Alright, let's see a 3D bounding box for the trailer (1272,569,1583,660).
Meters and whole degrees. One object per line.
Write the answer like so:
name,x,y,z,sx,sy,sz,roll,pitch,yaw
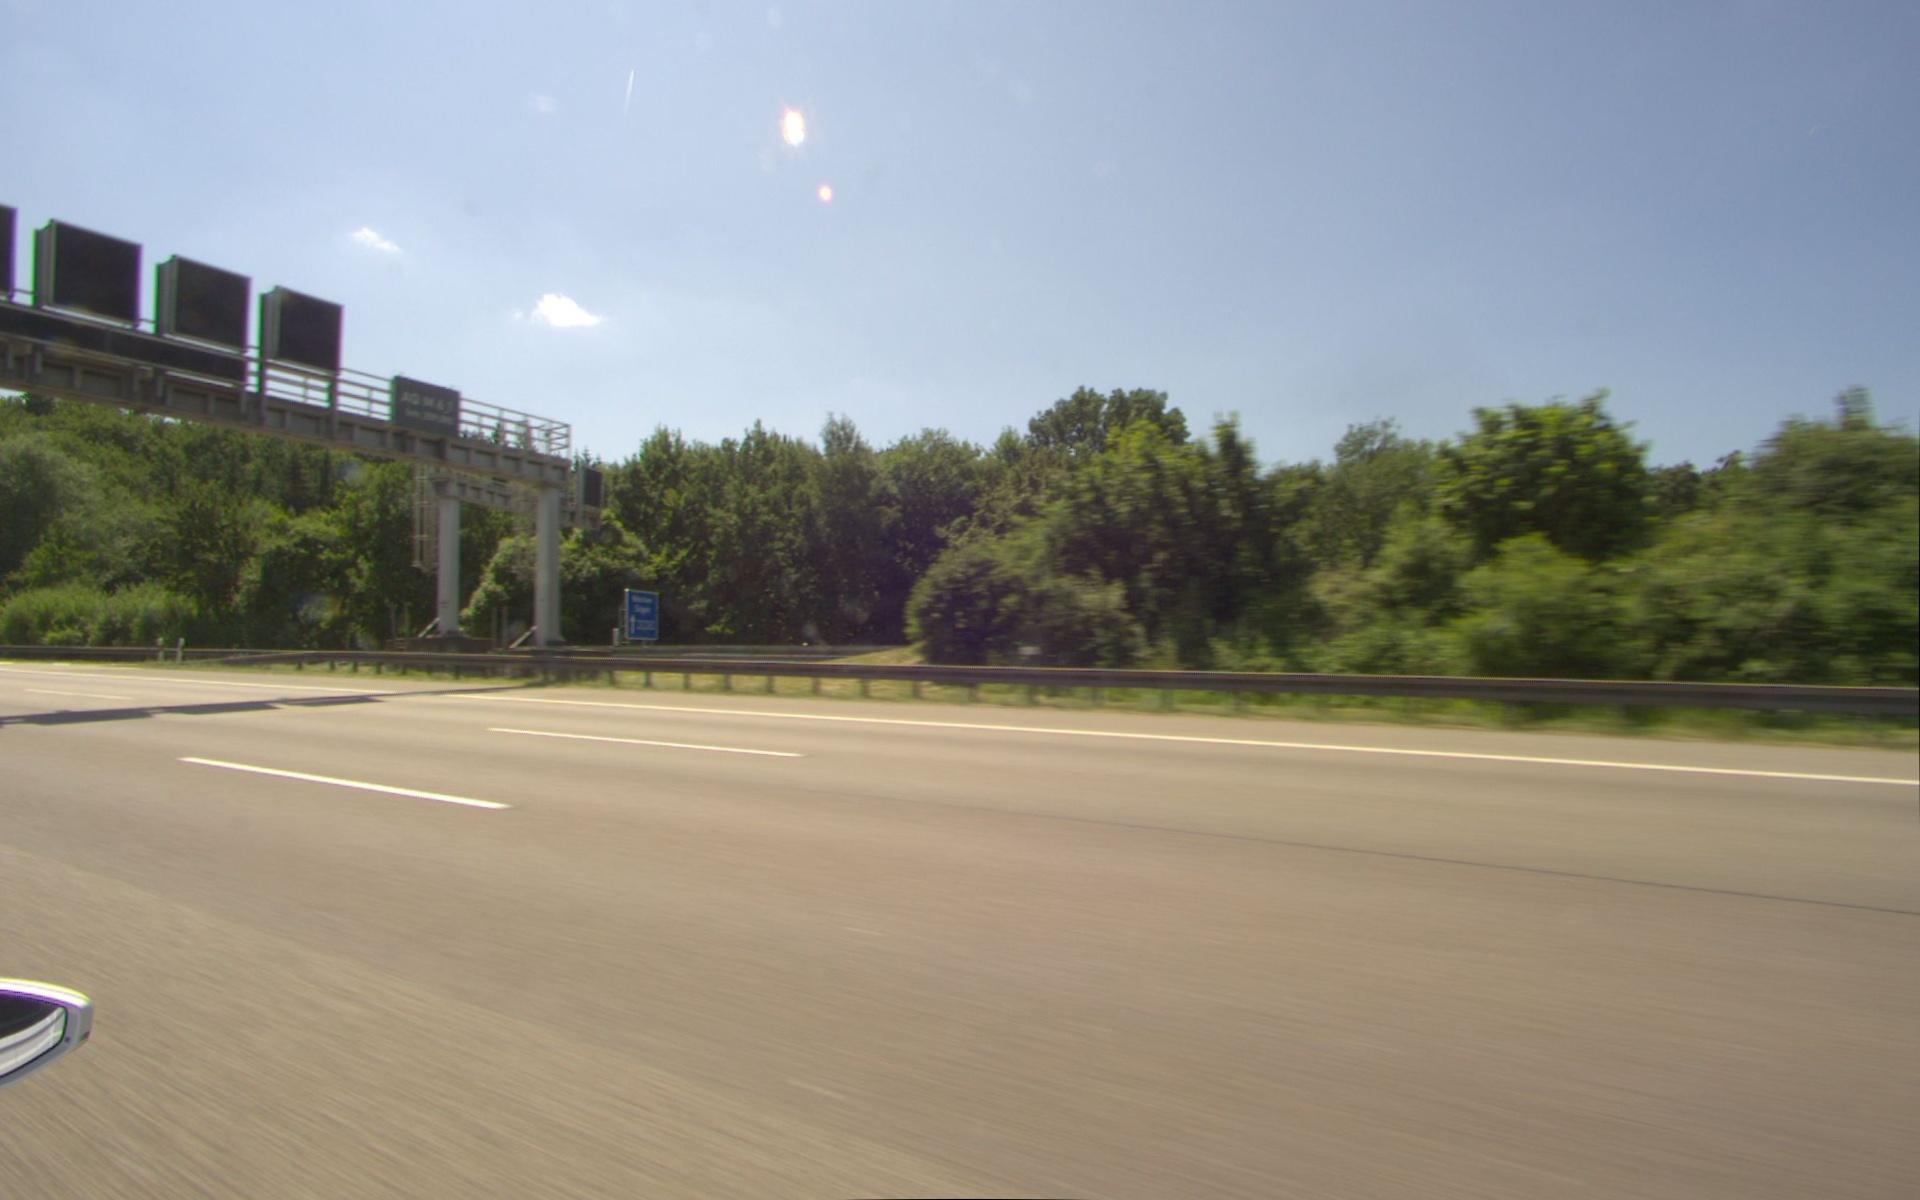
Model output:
trailer,20.140,0.645,43.173,13.118,3.658,2.505,0,-3,-11
